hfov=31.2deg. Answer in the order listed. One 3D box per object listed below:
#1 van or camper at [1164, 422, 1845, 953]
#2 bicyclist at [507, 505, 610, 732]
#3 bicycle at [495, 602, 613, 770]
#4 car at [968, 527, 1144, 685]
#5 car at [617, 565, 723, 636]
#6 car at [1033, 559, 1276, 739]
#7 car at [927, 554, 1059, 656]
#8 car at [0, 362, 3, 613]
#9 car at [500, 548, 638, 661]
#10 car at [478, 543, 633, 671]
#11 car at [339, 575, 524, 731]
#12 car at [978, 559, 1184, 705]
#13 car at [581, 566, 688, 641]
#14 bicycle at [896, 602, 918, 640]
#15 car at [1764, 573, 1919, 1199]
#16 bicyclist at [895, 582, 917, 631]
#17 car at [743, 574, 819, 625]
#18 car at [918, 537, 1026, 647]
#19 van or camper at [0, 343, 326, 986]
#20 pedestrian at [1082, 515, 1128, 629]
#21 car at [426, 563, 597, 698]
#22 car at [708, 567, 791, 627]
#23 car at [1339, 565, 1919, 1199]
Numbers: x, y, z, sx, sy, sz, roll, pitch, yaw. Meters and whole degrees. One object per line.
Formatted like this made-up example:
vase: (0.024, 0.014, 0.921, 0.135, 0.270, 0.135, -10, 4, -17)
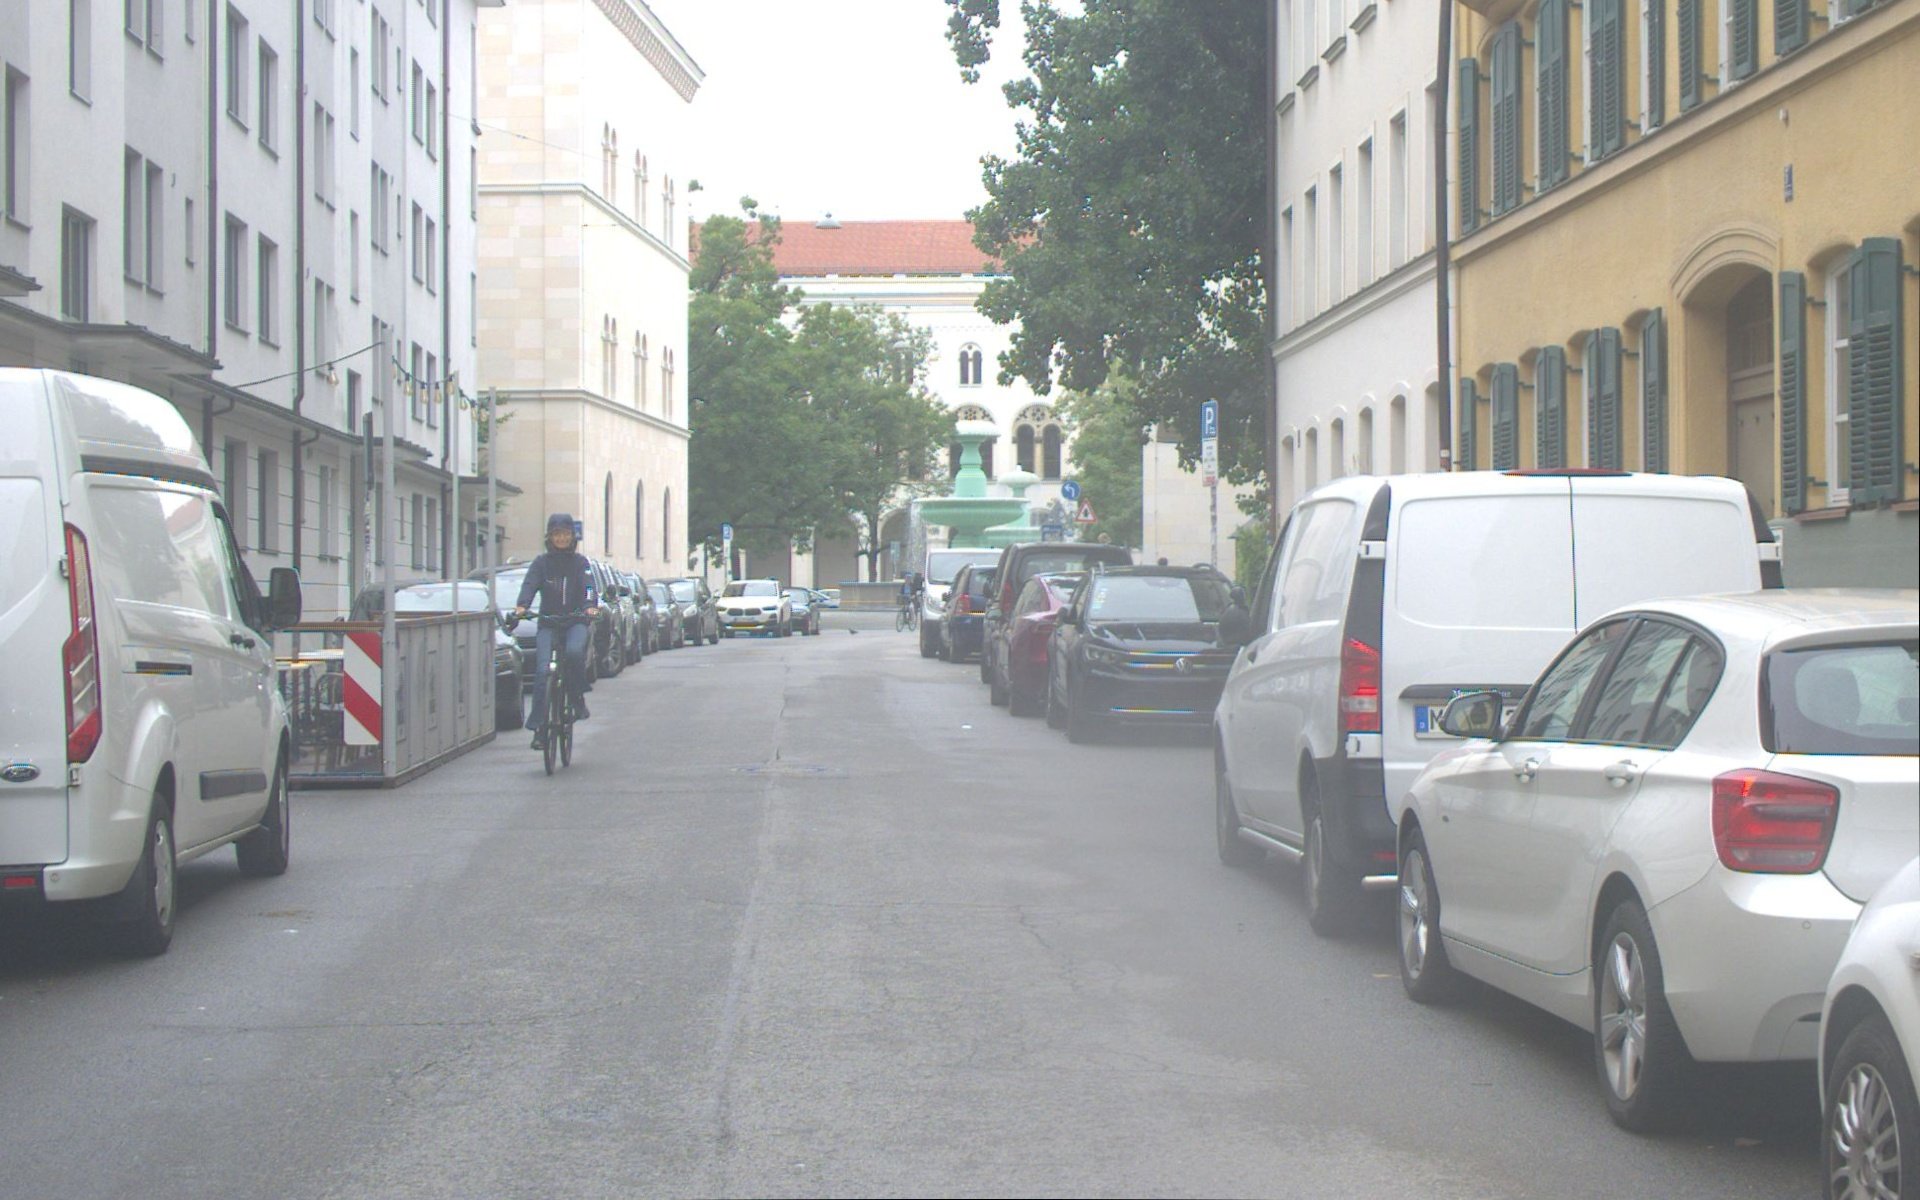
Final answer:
van or camper: (2.224, 0.292, 15.644, 1.993, 2.007, 5.233, 0, 1, -3)
bicyclist: (-2.930, 0.131, 25.136, 0.686, 1.622, 0.853, 1, 1, -3)
bicycle: (-2.944, 0.603, 25.073, 0.732, 1.147, 2.000, 0, 1, -3)
car: (1.125, 0.069, 42.168, 1.846, 1.770, 4.201, 2, 0, -2)
car: (-6.406, -0.015, 76.303, 1.751, 1.448, 4.015, -1, 1, 3)
car: (1.638, 0.379, 30.129, 1.745, 1.459, 4.000, 0, 1, -2)
car: (0.507, 0.061, 56.388, 1.807, 1.595, 4.216, 1, 0, -4)
car: (-3.962, 0.289, 9.620, 1.857, 2.194, 4.562, 1, 1, -8)
car: (-6.161, 0.033, 54.586, 1.872, 1.652, 4.591, -1, 1, -3)
car: (-5.726, 0.058, 49.102, 1.872, 1.682, 4.521, -1, 1, -3)
car: (-5.142, 0.465, 33.480, 1.638, 1.349, 4.060, -1, 1, -9)
car: (1.188, 0.296, 35.623, 1.713, 1.419, 4.458, 0, 0, -4)
car: (-6.743, 0.051, 71.538, 1.750, 1.448, 4.015, -1, 1, 1)
bicycle: (-1.690, 0.659, 109.424, 0.648, 1.193, 1.950, 0, 0, 0)
car: (2.635, 0.717, 5.523, 1.623, 1.504, 3.762, 0, 1, -3)
bicyclist: (-1.715, 0.208, 109.474, 0.657, 1.545, 0.887, 0, 0, 1)
car: (-5.082, 0.005, 98.058, 1.698, 1.388, 4.211, -1, 0, 3)
car: (0.196, -0.164, 62.479, 1.882, 1.918, 4.875, 0, 0, 0)
van or camper: (-4.186, 0.200, 15.048, 1.993, 2.303, 5.479, -1, 1, -2)
pedestrian: (2.813, -0.544, 66.797, 0.793, 2.190, 0.814, 1, 0, -2)
car: (-5.578, 0.345, 43.125, 1.773, 1.534, 4.159, -1, 1, -3)
car: (-5.574, -0.067, 91.592, 1.778, 1.529, 4.211, -1, 0, 2)
car: (2.481, 0.656, 10.481, 1.815, 1.504, 4.588, 0, 1, -4)
